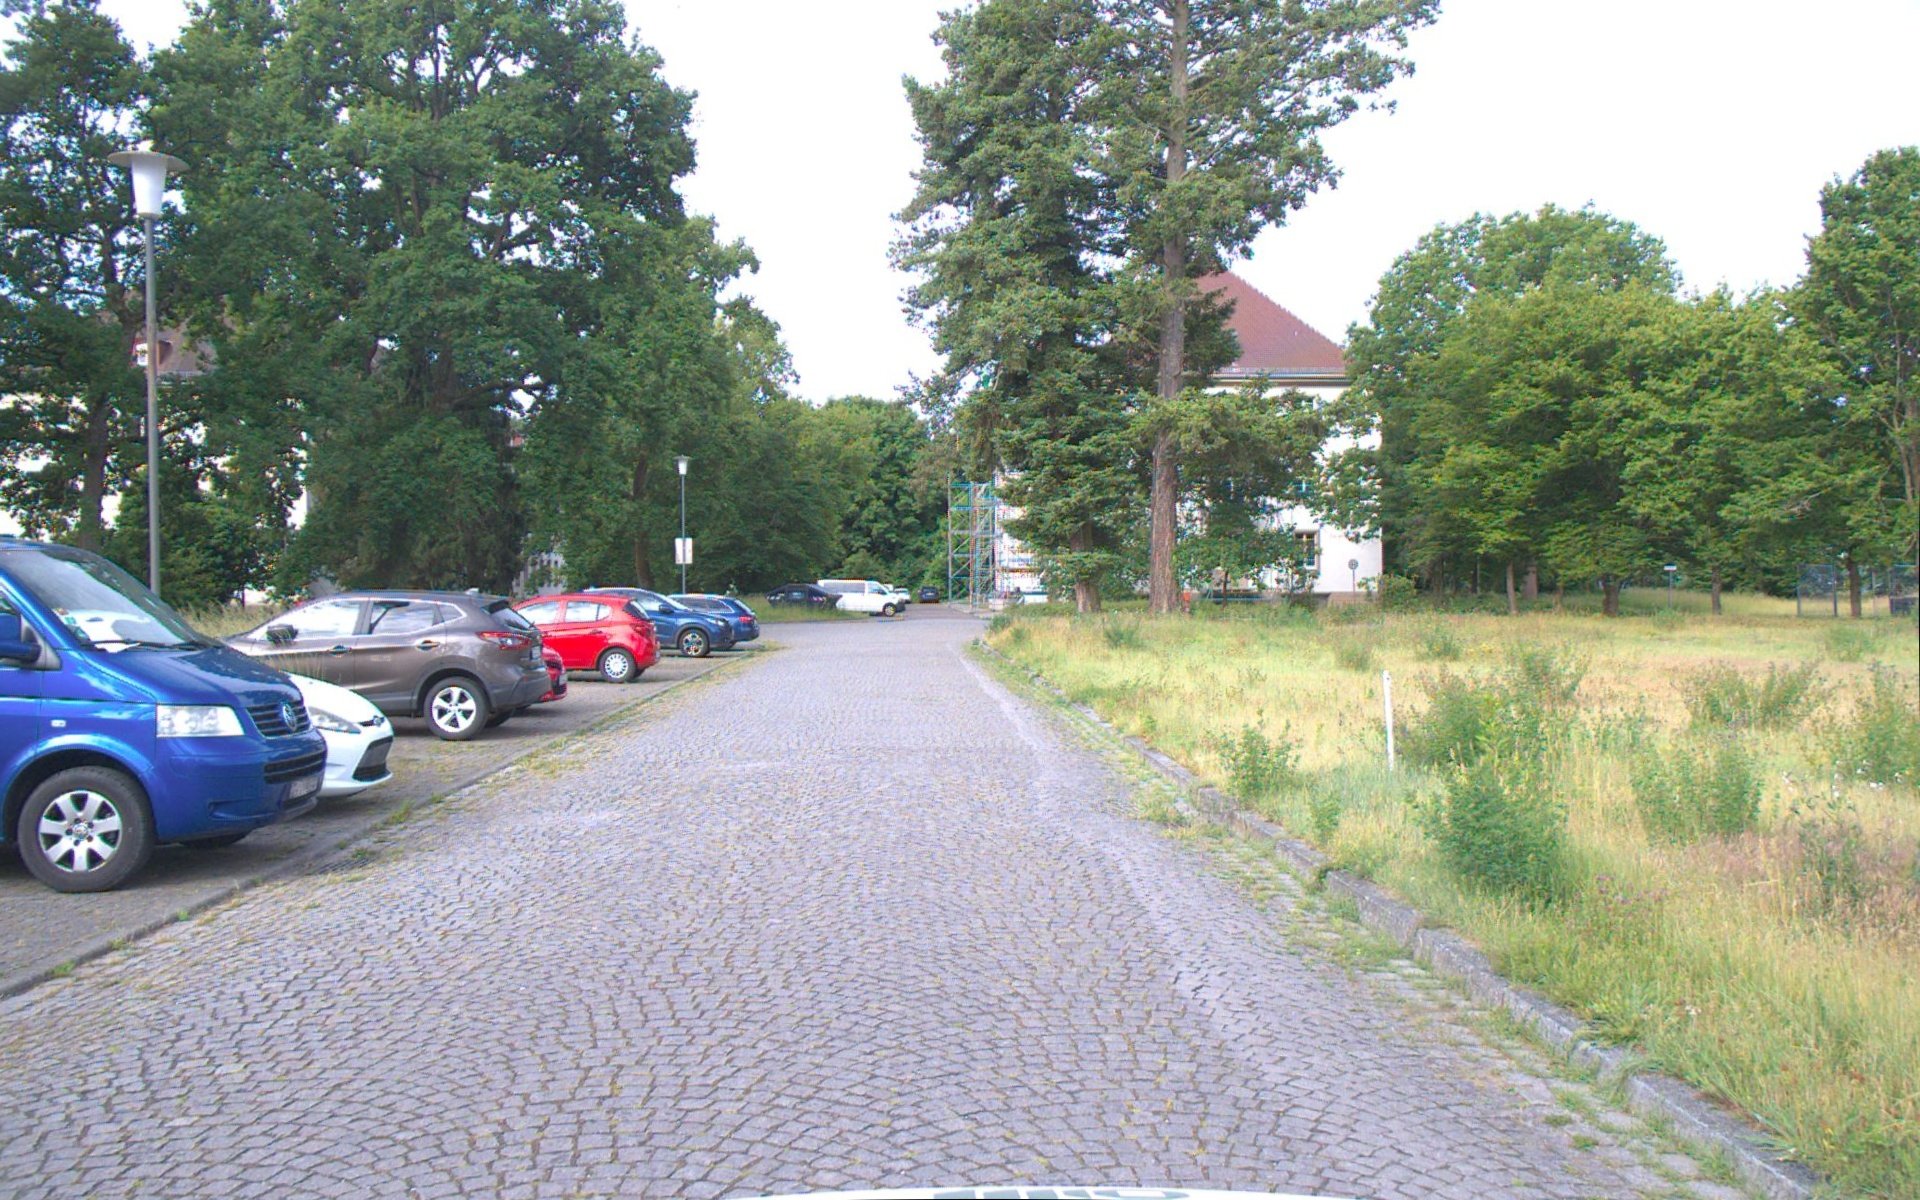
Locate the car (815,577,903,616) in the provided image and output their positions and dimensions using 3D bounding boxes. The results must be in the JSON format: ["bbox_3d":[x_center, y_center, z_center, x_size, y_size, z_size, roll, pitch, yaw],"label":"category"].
[{"bbox_3d":[-5.663,-0.181,92.964,4.879,2.109,2.050,0,-1,-4],"label":"car"}]

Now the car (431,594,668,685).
[{"bbox_3d":[-7.104,0.661,28.941,3.740,1.515,1.786,0,1,-3],"label":"car"}]

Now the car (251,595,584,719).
[{"bbox_3d":[-6.932,0.705,21.417,3.739,1.512,1.760,0,1,-3],"label":"car"}]

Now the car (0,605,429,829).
[{"bbox_3d":[-6.090,0.813,12.370,3.719,1.519,1.724,0,1,-5],"label":"car"}]

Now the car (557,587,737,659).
[{"bbox_3d":[-7.350,0.520,39.186,3.991,1.632,1.786,0,1,-4],"label":"car"}]

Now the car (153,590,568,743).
[{"bbox_3d":[-6.617,0.703,18.642,3.987,1.602,1.953,0,1,-4],"label":"car"}]

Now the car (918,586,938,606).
[{"bbox_3d":[-3.127,-0.376,159.482,1.754,1.750,4.057,-1,-1,-4],"label":"car"}]

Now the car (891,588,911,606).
[{"bbox_3d":[-5.683,-0.302,159.045,1.754,1.665,4.057,-1,-1,-4],"label":"car"}]

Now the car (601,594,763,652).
[{"bbox_3d":[-7.337,0.596,43.886,3.987,1.493,1.626,0,1,1],"label":"car"}]

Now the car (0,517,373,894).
[{"bbox_3d":[-6.143,0.554,9.786,4.615,2.015,2.037,0,1,-3],"label":"car"}]
